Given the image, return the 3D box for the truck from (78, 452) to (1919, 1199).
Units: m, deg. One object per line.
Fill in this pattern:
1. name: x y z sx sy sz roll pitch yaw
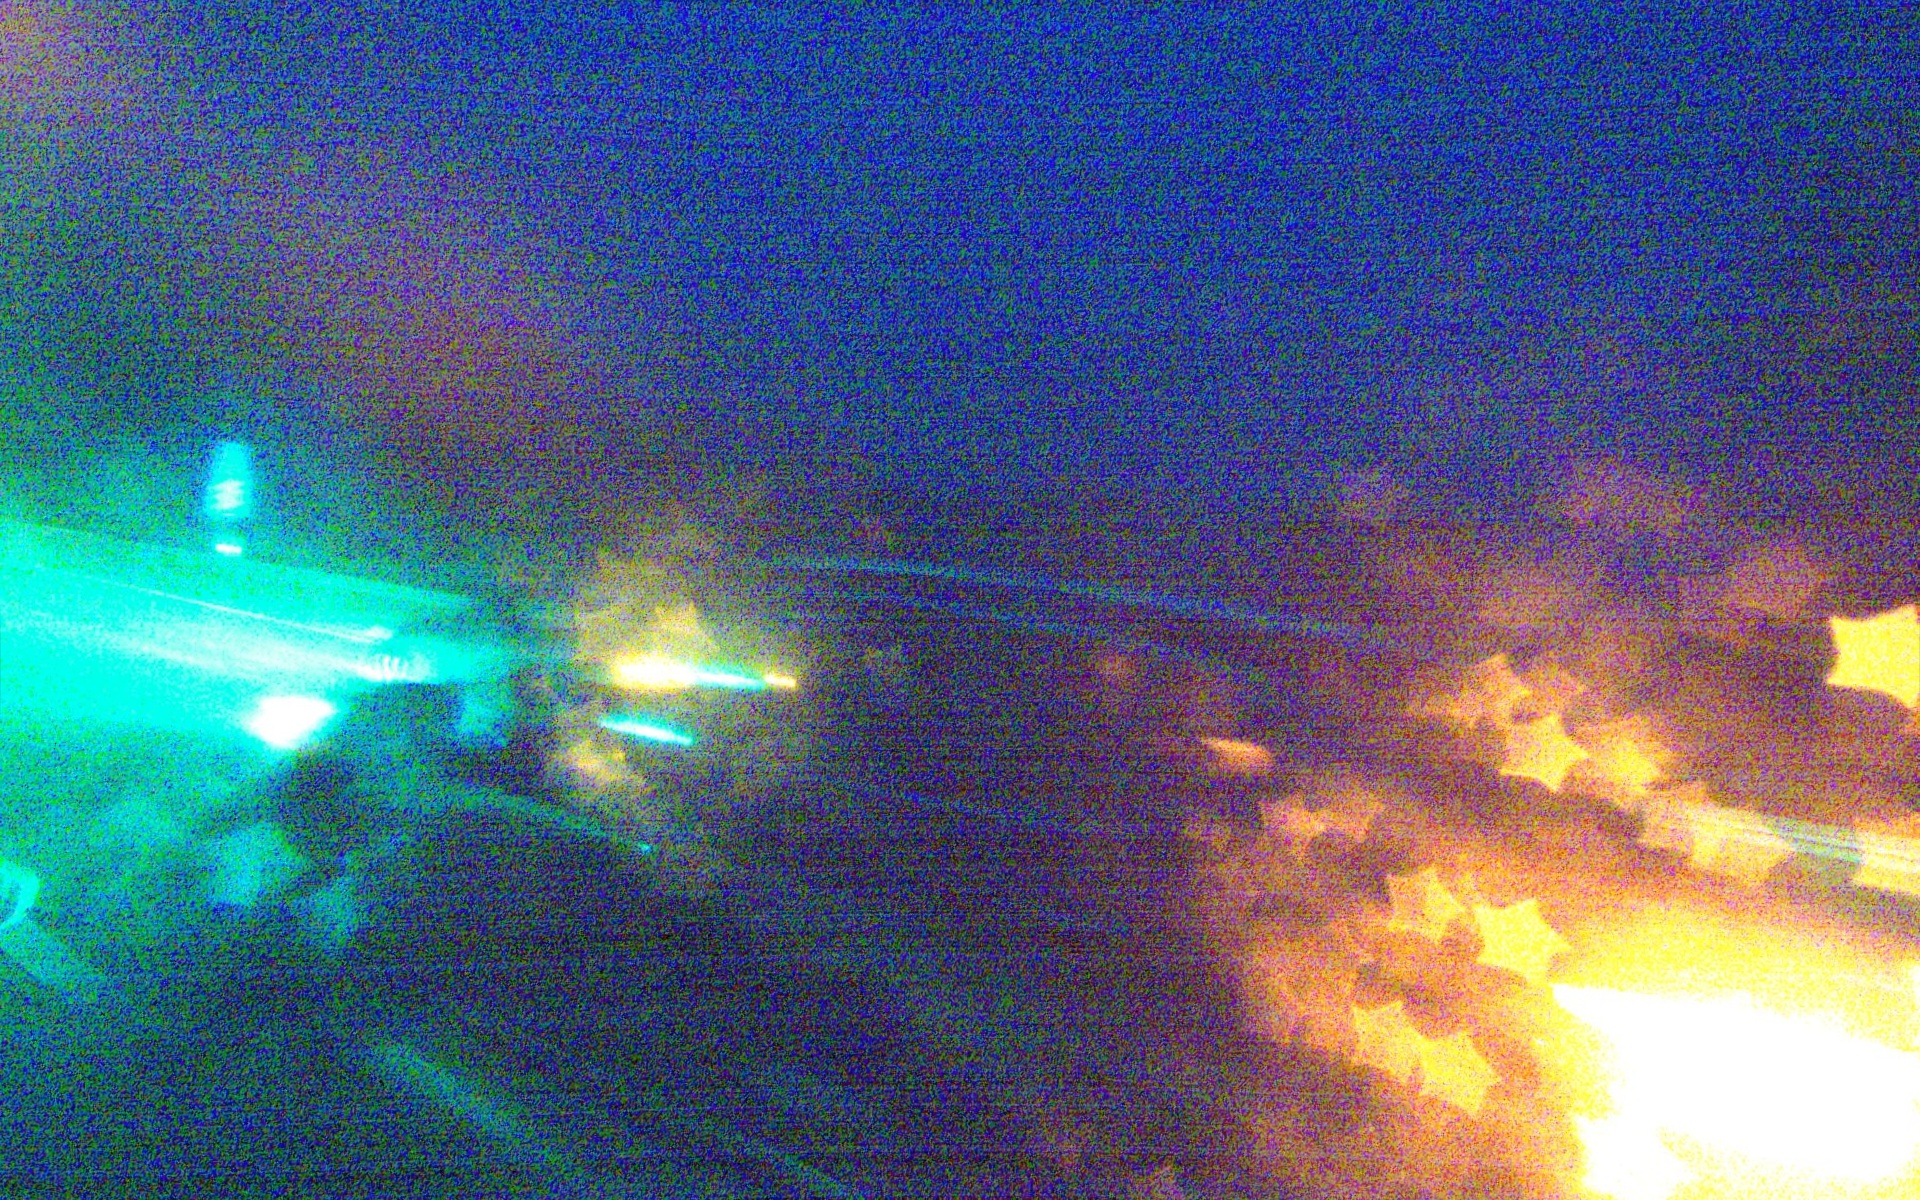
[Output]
1. truck: -0.576 0.629 3.128 4.775 1.716 1.847 6 -2 32
